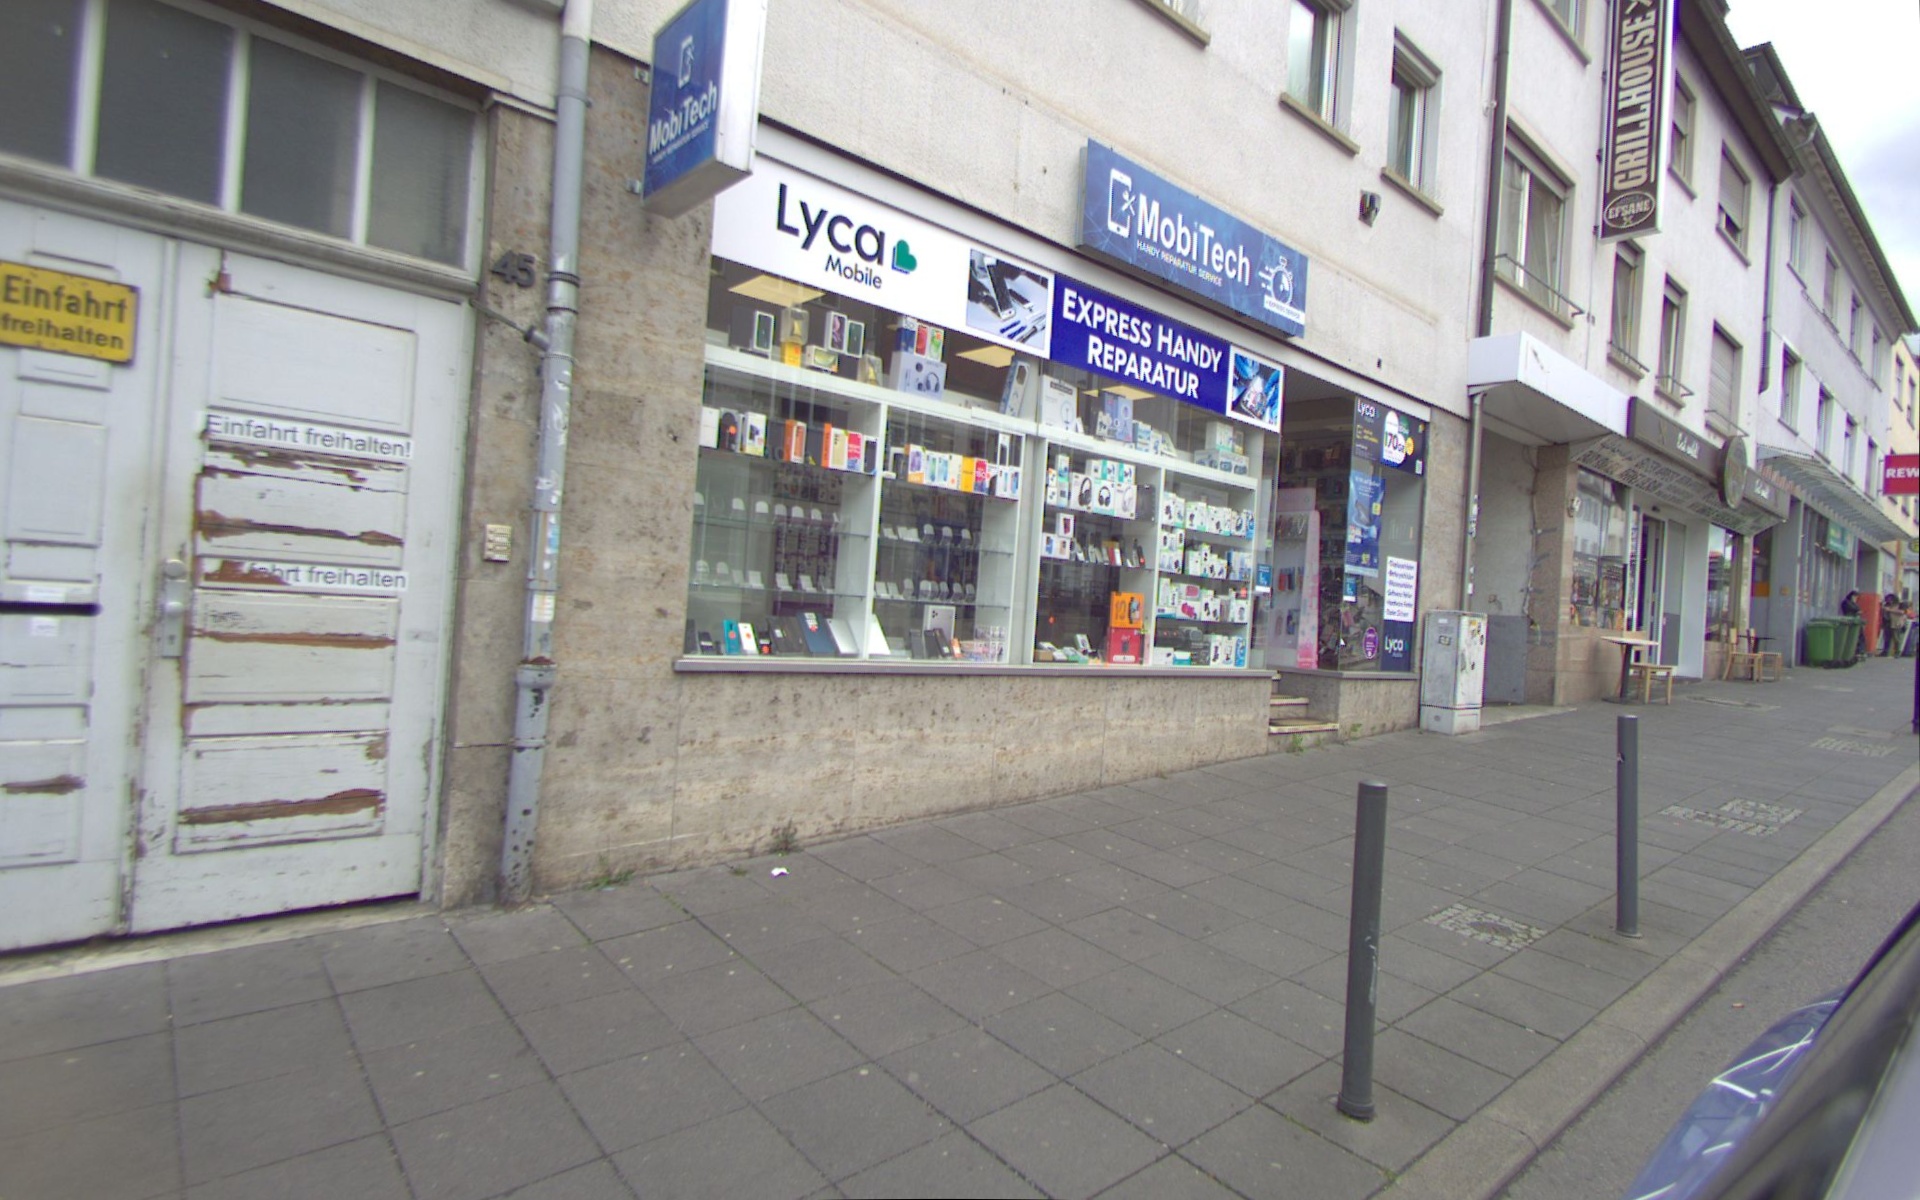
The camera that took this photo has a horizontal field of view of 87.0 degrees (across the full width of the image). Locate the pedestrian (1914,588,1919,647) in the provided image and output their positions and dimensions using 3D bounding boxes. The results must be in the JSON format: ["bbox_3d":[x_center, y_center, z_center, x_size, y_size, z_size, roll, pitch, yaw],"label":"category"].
[{"bbox_3d":[28.518,0.509,29.650,0.599,1.747,0.623,0,0,20],"label":"pedestrian"}]

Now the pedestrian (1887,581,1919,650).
[{"bbox_3d":[24.878,0.390,26.598,0.626,1.746,0.597,5,3,44],"label":"pedestrian"}]

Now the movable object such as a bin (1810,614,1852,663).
[{"bbox_3d":[18.055,0.787,20.984,0.489,0.968,0.568,1,2,-40],"label":"movable object such as a bin"}]

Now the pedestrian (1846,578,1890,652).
[{"bbox_3d":[21.751,0.356,24.255,0.621,1.747,0.601,0,0,26],"label":"pedestrian"}]

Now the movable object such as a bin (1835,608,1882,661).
[{"bbox_3d":[19.639,0.740,22.133,0.648,1.094,0.652,1,2,-40],"label":"movable object such as a bin"}]

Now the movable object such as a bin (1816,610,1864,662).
[{"bbox_3d":[18.534,0.750,21.314,0.550,1.043,0.670,1,2,-40],"label":"movable object such as a bin"}]

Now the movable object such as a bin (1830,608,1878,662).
[{"bbox_3d":[19.124,0.742,21.655,0.661,1.094,0.652,1,2,-40],"label":"movable object such as a bin"}]

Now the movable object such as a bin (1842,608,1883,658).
[{"bbox_3d":[20.111,0.731,22.556,0.564,1.073,0.569,1,1,-40],"label":"movable object such as a bin"}]

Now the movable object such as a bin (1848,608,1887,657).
[{"bbox_3d":[20.551,0.726,22.923,0.549,1.070,0.559,1,1,-40],"label":"movable object such as a bin"}]
